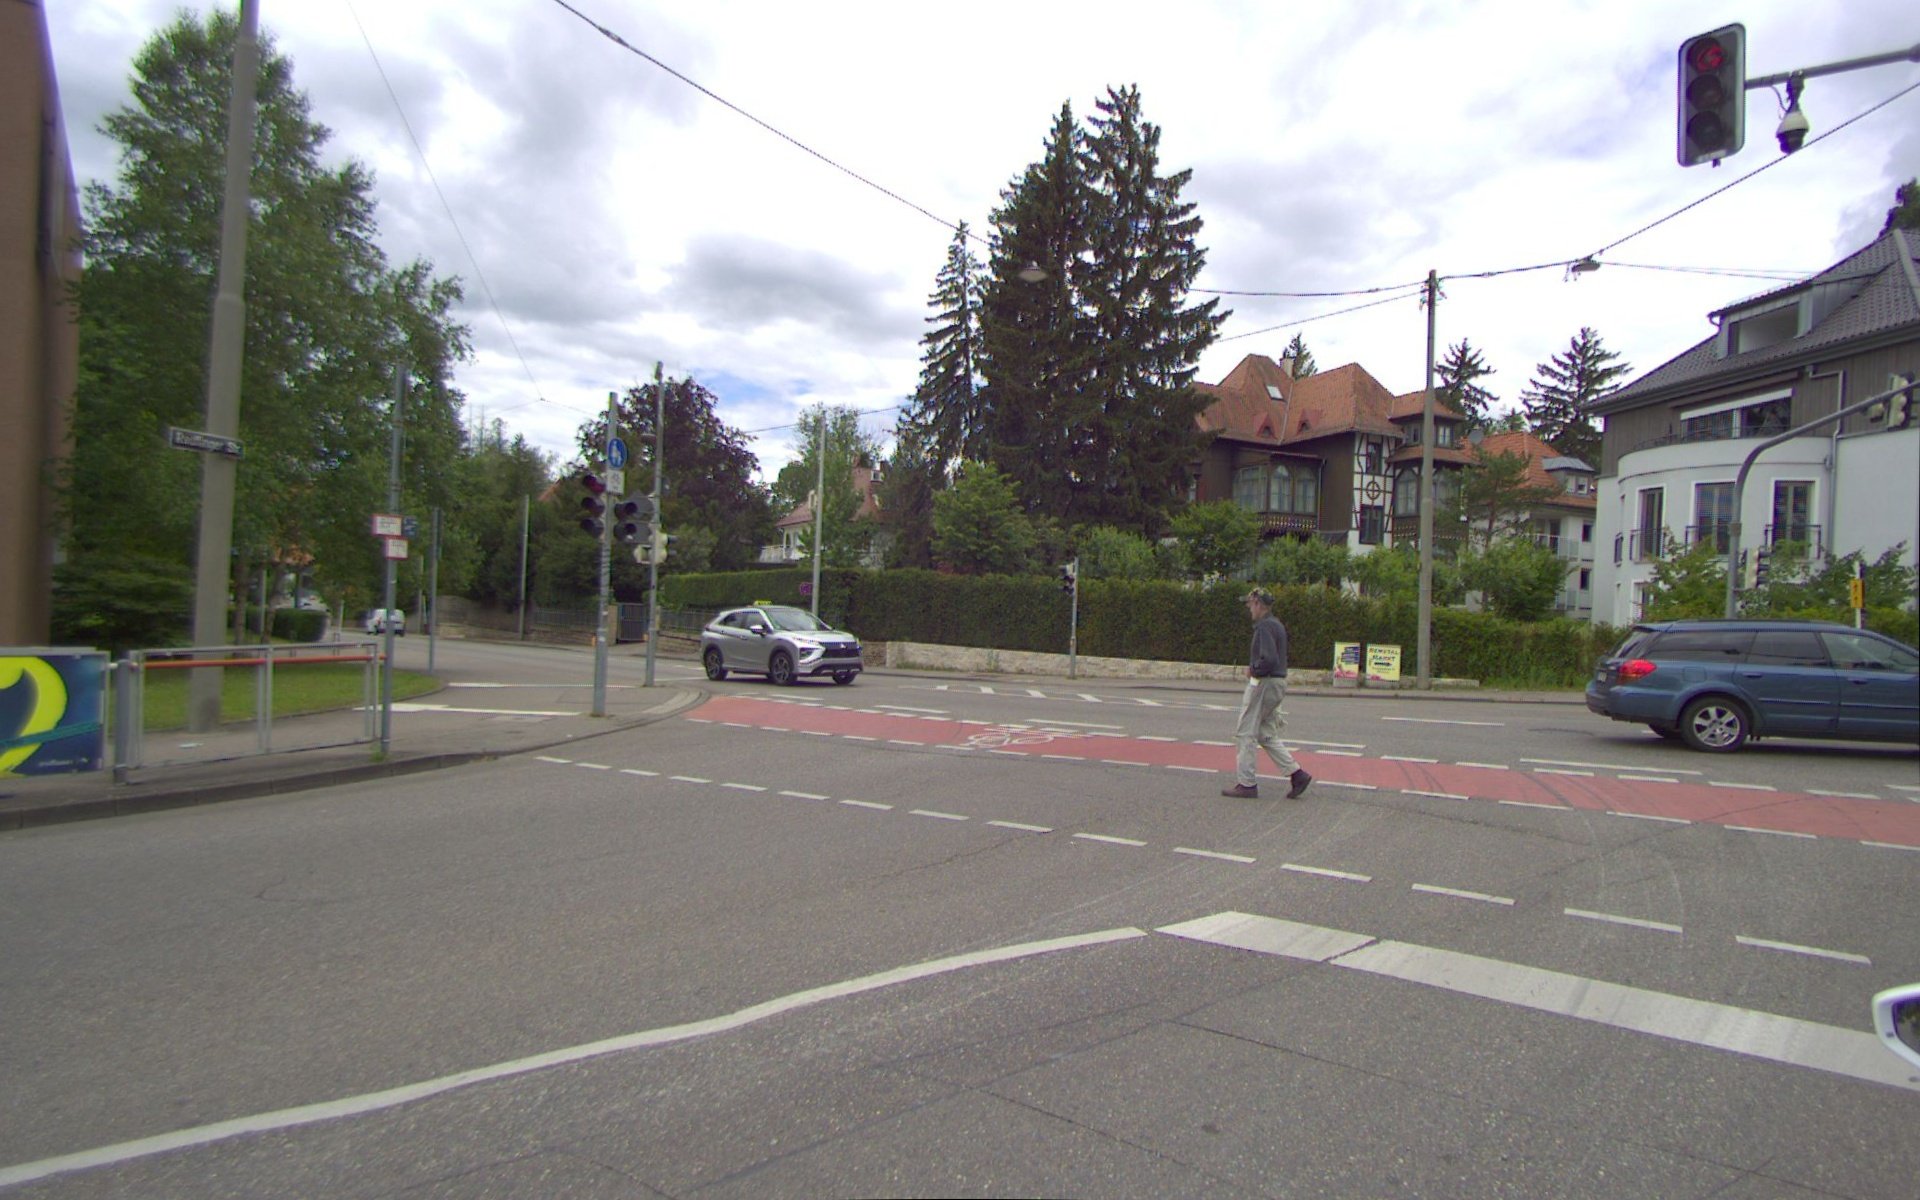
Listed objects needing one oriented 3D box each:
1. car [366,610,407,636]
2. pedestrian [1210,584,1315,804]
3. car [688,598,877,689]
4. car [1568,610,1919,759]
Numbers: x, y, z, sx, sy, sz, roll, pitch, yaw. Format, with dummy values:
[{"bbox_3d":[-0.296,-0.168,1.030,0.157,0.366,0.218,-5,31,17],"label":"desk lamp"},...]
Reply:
[{"bbox_3d":[-39.966,1.582,70.021,1.798,1.734,3.989,2,-2,-40],"label":"car"},{"bbox_3d":[2.422,0.718,8.013,0.726,1.655,0.683,-1,-1,22],"label":"pedestrian"},{"bbox_3d":[-3.955,0.899,21.896,4.425,1.776,1.802,-1,-2,44],"label":"car"},{"bbox_3d":[9.878,0.917,11.600,4.651,1.547,1.805,0,-1,23],"label":"car"}]
